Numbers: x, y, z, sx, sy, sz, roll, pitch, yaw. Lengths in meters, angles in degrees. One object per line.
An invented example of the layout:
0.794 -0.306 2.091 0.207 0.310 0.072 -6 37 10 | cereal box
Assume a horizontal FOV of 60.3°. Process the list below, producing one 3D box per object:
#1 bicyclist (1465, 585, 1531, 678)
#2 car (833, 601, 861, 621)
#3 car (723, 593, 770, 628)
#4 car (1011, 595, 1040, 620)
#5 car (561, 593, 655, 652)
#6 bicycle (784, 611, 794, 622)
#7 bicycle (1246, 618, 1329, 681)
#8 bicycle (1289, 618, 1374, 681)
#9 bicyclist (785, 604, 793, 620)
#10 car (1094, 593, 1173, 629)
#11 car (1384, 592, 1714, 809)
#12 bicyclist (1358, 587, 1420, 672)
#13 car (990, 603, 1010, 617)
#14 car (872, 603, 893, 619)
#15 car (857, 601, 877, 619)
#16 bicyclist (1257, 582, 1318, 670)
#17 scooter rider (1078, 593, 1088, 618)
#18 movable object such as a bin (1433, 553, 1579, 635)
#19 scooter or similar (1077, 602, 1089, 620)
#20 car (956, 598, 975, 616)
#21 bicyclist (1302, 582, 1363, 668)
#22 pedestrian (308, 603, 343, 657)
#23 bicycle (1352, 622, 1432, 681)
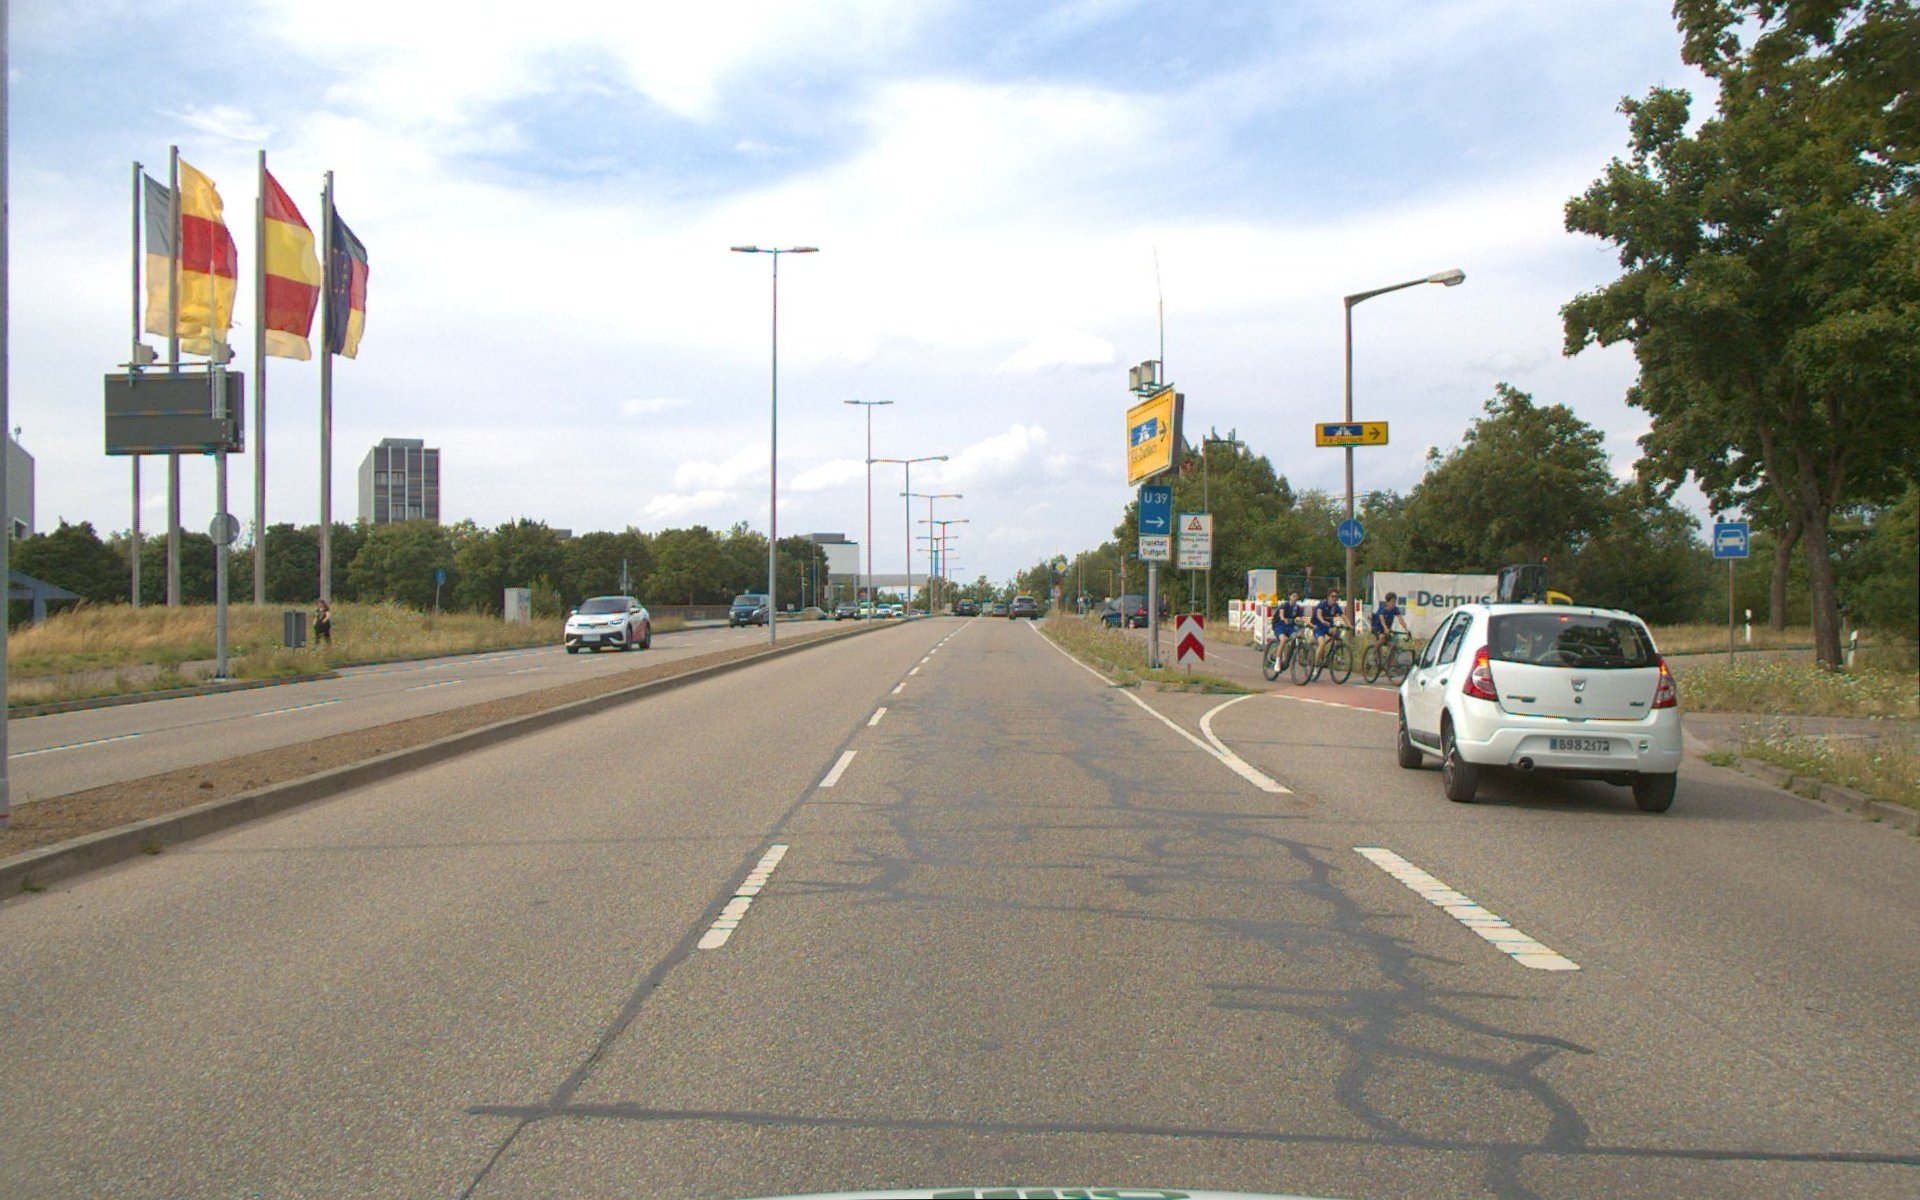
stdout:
8.927 0.522 27.460 0.727 1.499 0.803 1 -1 -13 | bicyclist
-8.829 0.824 129.451 1.727 1.466 4.177 -2 0 1 | car
-12.586 0.605 97.753 1.809 1.927 5.506 -3 0 2 | car
4.613 0.528 116.957 1.696 1.682 4.111 0 -1 -3 | car
-10.500 0.633 49.669 1.809 1.629 4.561 -1 1 0 | car
-16.791 1.603 162.609 0.691 1.068 2.060 0 -1 1 | bicycle
5.827 0.874 29.550 0.609 1.023 2.096 3 0 -13 | bicycle
6.725 0.881 30.046 0.585 1.055 2.188 3 -1 -13 | bicycle
-16.809 1.182 162.599 0.779 1.655 0.976 1 -1 -1 | bicyclist
8.524 0.565 81.620 1.716 1.682 4.065 1 -2 -34 | car
4.786 0.746 14.020 1.808 1.528 4.003 1 -1 7 | car
7.852 0.539 30.302 0.728 1.513 0.955 1 -1 -13 | bicyclist
4.691 1.215 194.964 1.698 1.553 4.107 1 -1 -8 | car
-8.007 1.118 171.115 1.615 1.542 4.018 -2 0 4 | car
-8.766 0.939 155.669 1.517 1.605 3.691 -2 0 1 | car
5.855 0.469 29.580 0.728 1.545 0.955 1 -1 -14 | bicyclist
8.601 0.407 115.729 0.576 1.720 0.742 1 -1 -7 | scooter rider
18.663 -0.198 56.726 4.406 2.736 2.103 1 -1 5 | movable object such as a bin
8.605 0.788 115.740 0.576 1.246 1.201 1 -1 -7 | scooter or similar
0.551 0.692 159.680 1.694 1.682 4.115 0 -1 2 | car
6.814 0.461 30.280 0.728 1.545 0.954 1 -1 -14 | bicyclist
-20.922 0.978 54.522 0.848 1.722 0.679 -2 0 -1 | pedestrian
7.863 0.929 30.166 0.609 1.023 1.781 -2 -1 -13 | bicycle
